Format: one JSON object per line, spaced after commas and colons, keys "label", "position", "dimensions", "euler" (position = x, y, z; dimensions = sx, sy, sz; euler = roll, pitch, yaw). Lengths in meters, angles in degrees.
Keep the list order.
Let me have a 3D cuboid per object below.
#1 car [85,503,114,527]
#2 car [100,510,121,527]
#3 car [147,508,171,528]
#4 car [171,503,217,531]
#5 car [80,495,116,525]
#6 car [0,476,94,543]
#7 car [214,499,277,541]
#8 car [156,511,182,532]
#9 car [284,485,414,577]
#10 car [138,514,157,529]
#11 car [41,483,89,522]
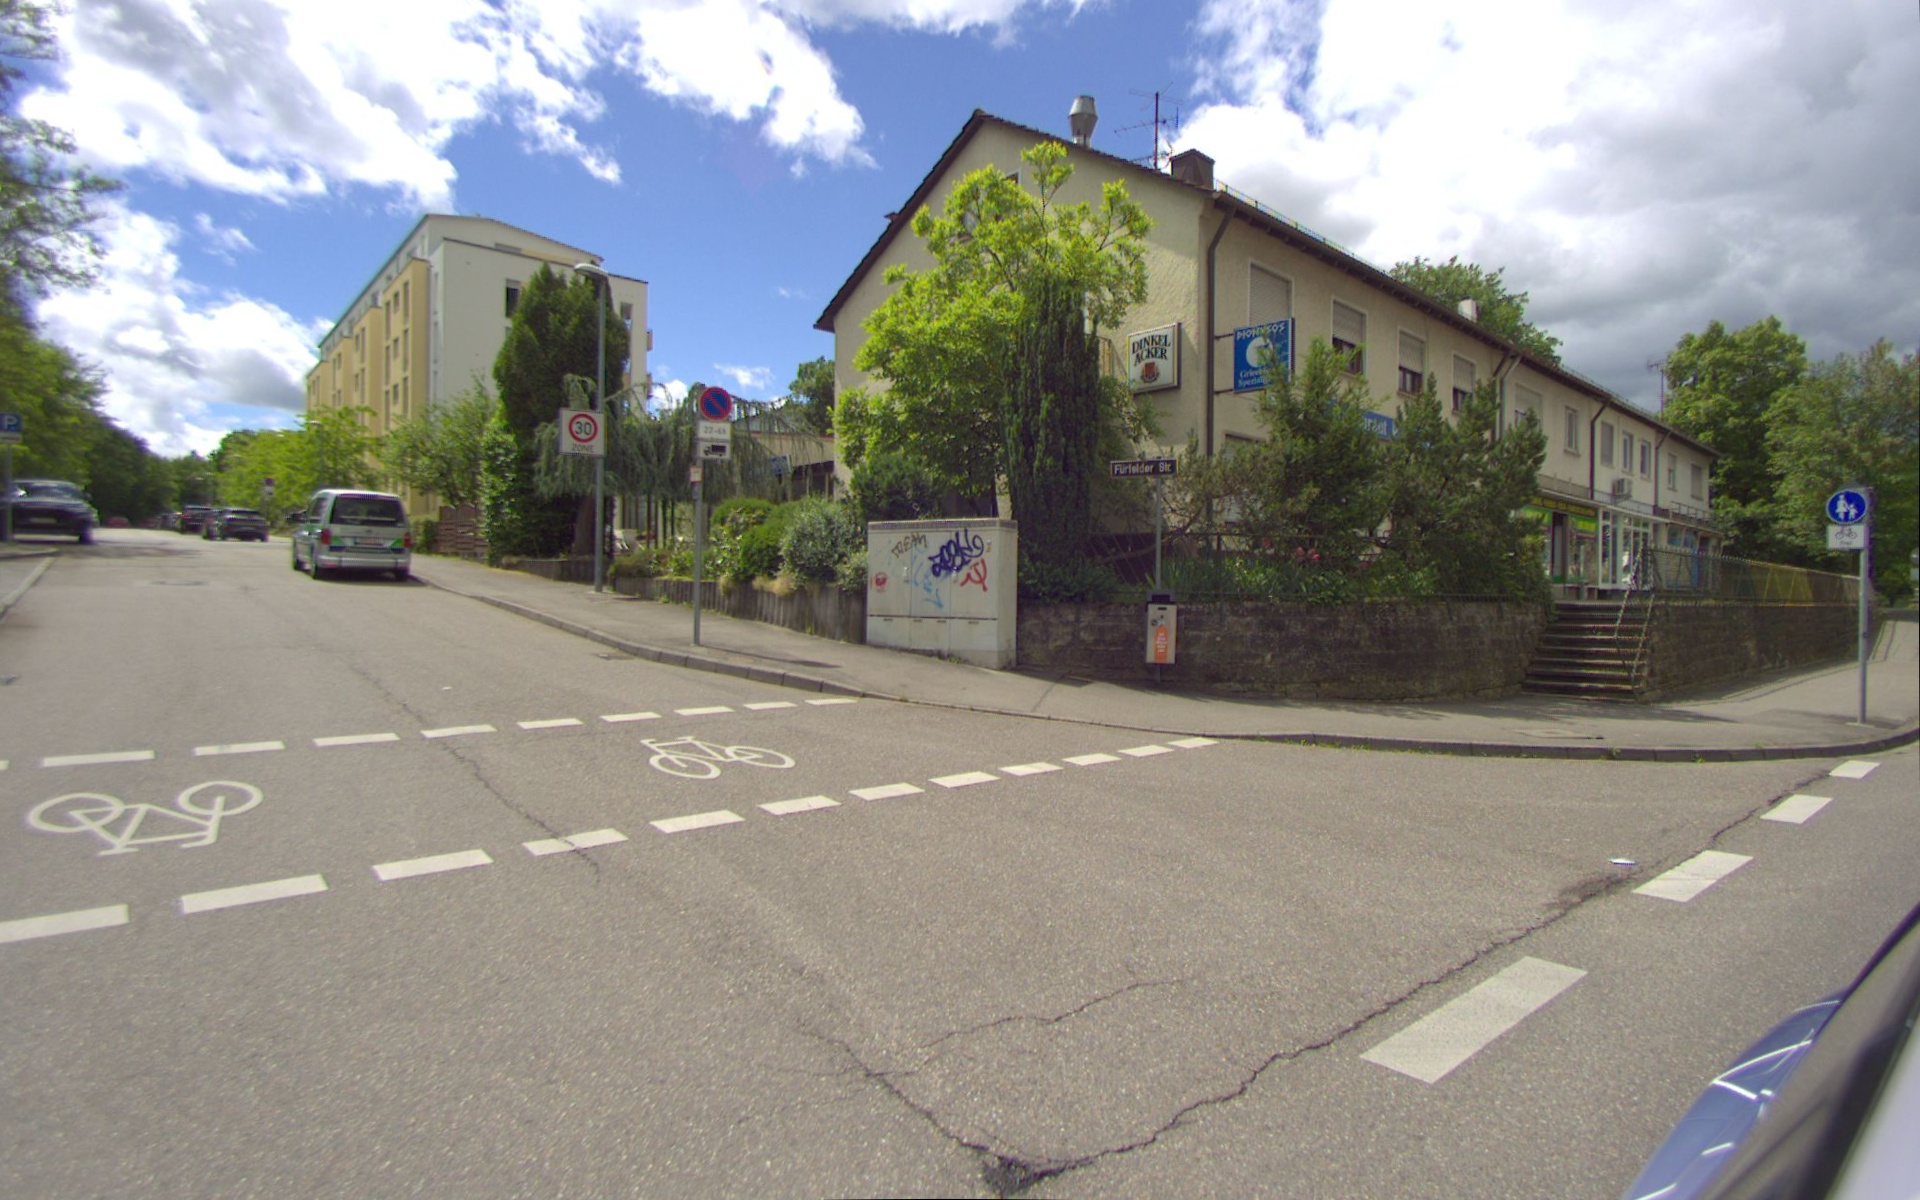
{"label": "car", "position": [-78.182, -7.749, 92.000], "dimensions": [1.965, 2.038, 3.997], "euler": [0, 4, -40]}
{"label": "car", "position": [-106.859, -10.250, 127.365], "dimensions": [1.965, 2.038, 3.997], "euler": [0, 4, -40]}
{"label": "car", "position": [-88.126, -9.042, 111.310], "dimensions": [1.965, 2.038, 3.997], "euler": [0, 4, -40]}
{"label": "car", "position": [-47.009, -5.095, 62.077], "dimensions": [1.966, 1.604, 3.994], "euler": [0, 4, -42]}
{"label": "car", "position": [-62.671, -6.562, 73.606], "dimensions": [1.965, 2.038, 3.997], "euler": [0, 4, -40]}
{"label": "car", "position": [-24.755, -2.413, 27.349], "dimensions": [1.966, 1.604, 4.321], "euler": [0, 3, -42]}
{"label": "car", "position": [-32.597, -3.653, 46.147], "dimensions": [1.918, 1.737, 3.995], "euler": [0, 4, -42]}
{"label": "car", "position": [-79.847, -7.943, 102.126], "dimensions": [1.965, 2.038, 3.997], "euler": [0, 4, -40]}
{"label": "car", "position": [-13.014, -1.471, 21.456], "dimensions": [1.661, 1.737, 3.995], "euler": [0, 4, -42]}
{"label": "car", "position": [-111.535, -10.781, 138.944], "dimensions": [1.965, 2.038, 3.997], "euler": [0, 4, -40]}
{"label": "car", "position": [-51.614, -5.606, 58.420], "dimensions": [1.965, 2.038, 3.997], "euler": [0, 4, -40]}
